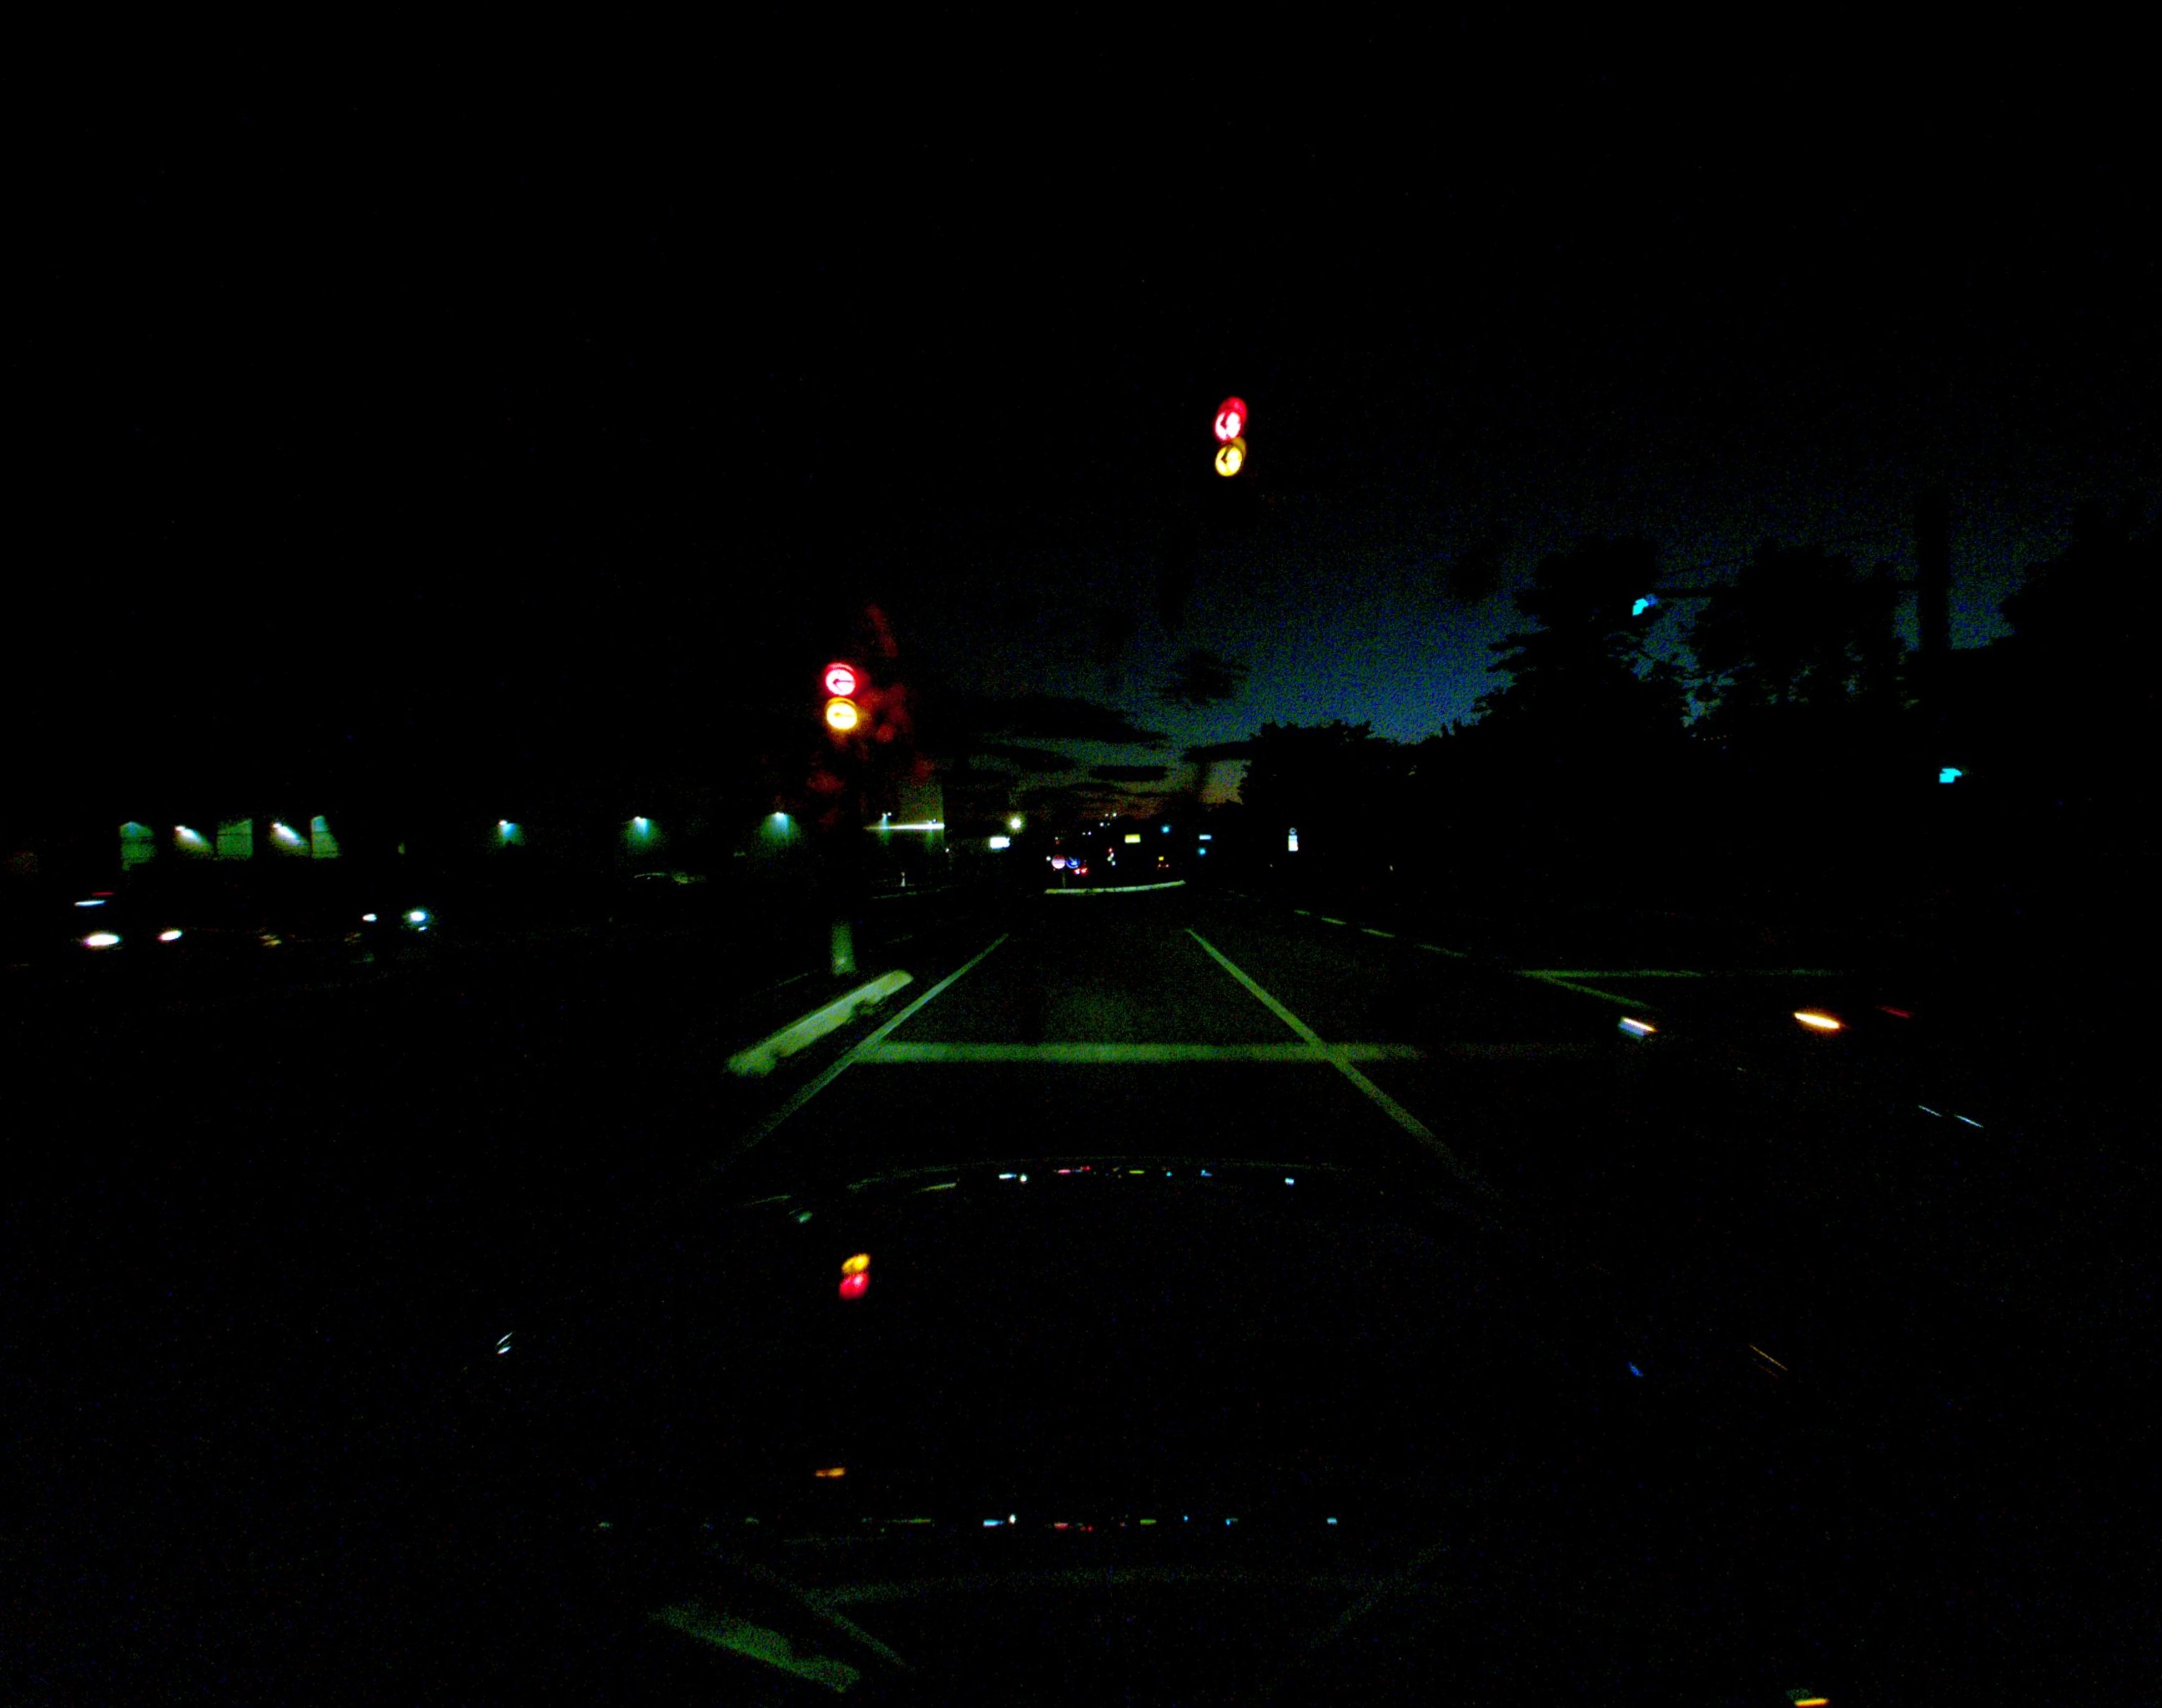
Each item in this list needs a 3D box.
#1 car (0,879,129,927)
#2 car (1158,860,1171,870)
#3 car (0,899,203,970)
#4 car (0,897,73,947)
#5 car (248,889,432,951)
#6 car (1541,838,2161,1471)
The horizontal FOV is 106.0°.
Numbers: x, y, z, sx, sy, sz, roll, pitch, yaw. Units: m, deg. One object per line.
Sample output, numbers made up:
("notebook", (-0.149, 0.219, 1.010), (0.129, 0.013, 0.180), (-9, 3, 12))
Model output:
("car", (-46.079, 2.185, 36.525), (3.987, 2.014, 1.993), (0, -1, -10))
("car", (14.428, 1.867, 141.462), (1.928, 1.646, 4.001), (-2, 0, 1))
("car", (-23.517, 1.893, 19.271), (3.964, 1.460, 1.764), (-2, -1, 8))
("car", (-34.032, 2.141, 25.047), (3.964, 1.398, 2.005), (-2, 0, 8))
("car", (-20.862, 1.835, 23.003), (3.837, 1.474, 1.708), (-3, -1, 7))
("car", (3.378, 0.683, 2.394), (1.752, 1.459, 4.193), (-1, 0, 1))
